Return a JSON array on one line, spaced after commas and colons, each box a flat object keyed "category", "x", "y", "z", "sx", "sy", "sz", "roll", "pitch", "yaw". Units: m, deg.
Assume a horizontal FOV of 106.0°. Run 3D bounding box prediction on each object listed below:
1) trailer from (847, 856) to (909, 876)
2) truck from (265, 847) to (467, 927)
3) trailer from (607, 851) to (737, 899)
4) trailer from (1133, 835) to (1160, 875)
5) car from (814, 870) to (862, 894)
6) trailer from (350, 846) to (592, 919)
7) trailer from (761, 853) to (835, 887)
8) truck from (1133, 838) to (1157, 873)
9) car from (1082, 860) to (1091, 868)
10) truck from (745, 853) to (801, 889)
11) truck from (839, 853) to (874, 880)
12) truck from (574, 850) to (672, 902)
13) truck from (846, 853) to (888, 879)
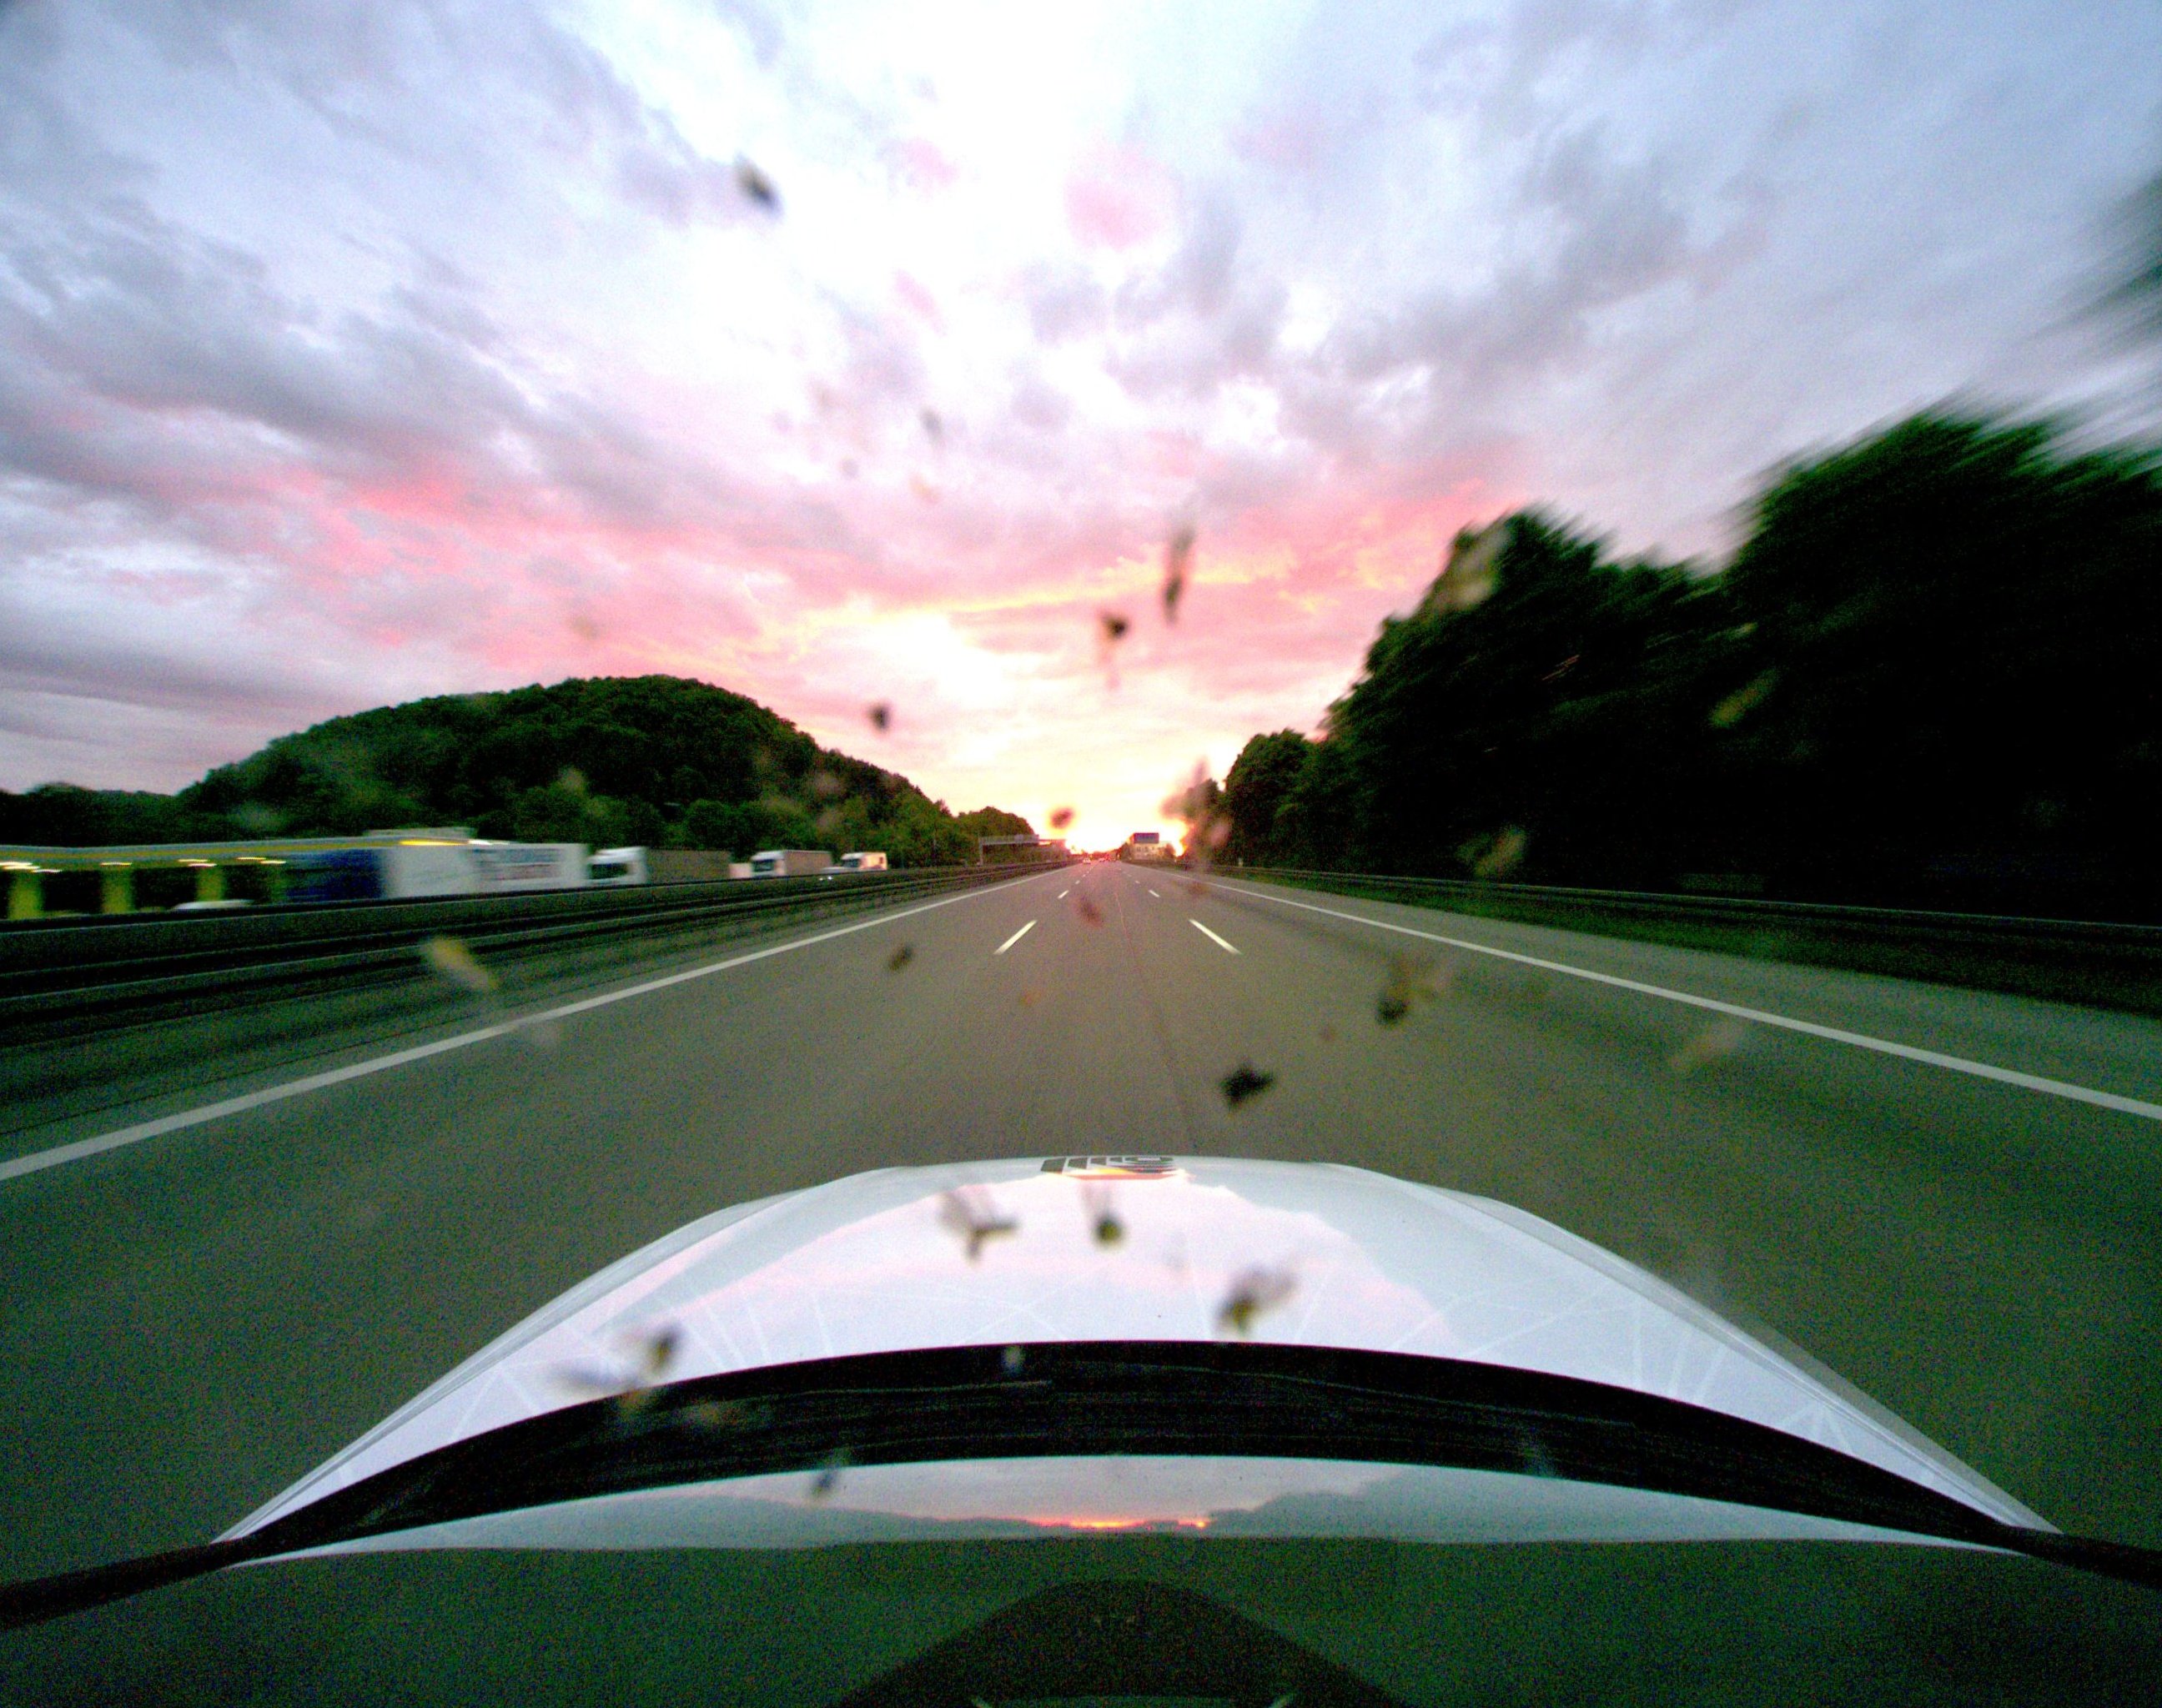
[{"category": "trailer", "x": -40.053, "y": 2.307, "z": 161.433, "sx": 3.032, "sy": 3.679, "sz": 13.427, "roll": -1, "pitch": 0, "yaw": 32}, {"category": "truck", "x": -33.191, "y": 1.385, "z": 38.304, "sx": 2.861, "sy": 3.375, "sz": 7.180, "roll": -1, "pitch": 0, "yaw": 3}, {"category": "trailer", "x": -31.953, "y": 1.482, "z": 64.688, "sx": 2.862, "sy": 3.425, "sz": 13.578, "roll": -1, "pitch": 0, "yaw": 2}, {"category": "trailer", "x": 7.116, "y": 0.159, "z": 90.051, "sx": 2.760, "sy": 4.086, "sz": 13.752, "roll": 0, "pitch": 0, "yaw": 4}, {"category": "car", "x": -18.032, "y": 2.040, "z": 60.668, "sx": 1.986, "sy": 1.593, "sz": 4.741, "roll": -1, "pitch": 0, "yaw": 1}, {"category": "trailer", "x": -32.835, "y": 1.344, "z": 45.141, "sx": 2.861, "sy": 3.425, "sz": 13.234, "roll": -1, "pitch": 0, "yaw": 3}, {"category": "trailer", "x": -30.868, "y": 1.627, "z": 89.752, "sx": 2.862, "sy": 3.425, "sz": 13.858, "roll": -1, "pitch": 0, "yaw": 2}, {"category": "truck", "x": 7.584, "y": 0.197, "z": 96.966, "sx": 2.724, "sy": 3.996, "sz": 5.855, "roll": 0, "pitch": 0, "yaw": 4}, {"category": "car", "x": 1.345, "y": 2.439, "z": 197.655, "sx": 2.006, "sy": 1.749, "sz": 3.903, "roll": -4, "pitch": 0, "yaw": 1}, {"category": "truck", "x": -31.176, "y": 1.660, "z": 82.695, "sx": 2.862, "sy": 3.425, "sz": 6.731, "roll": -1, "pitch": 0, "yaw": 3}, {"category": "truck", "x": -29.445, "y": 1.570, "z": 106.936, "sx": 2.866, "sy": 3.425, "sz": 6.720, "roll": -1, "pitch": 0, "yaw": -2}, {"category": "truck", "x": -32.261, "y": 1.483, "z": 57.741, "sx": 2.862, "sy": 3.425, "sz": 6.730, "roll": -1, "pitch": 0, "yaw": 2}, {"category": "truck", "x": -29.742, "y": 1.546, "z": 114.048, "sx": 2.867, "sy": 3.425, "sz": 13.775, "roll": -1, "pitch": 0, "yaw": -3}]
